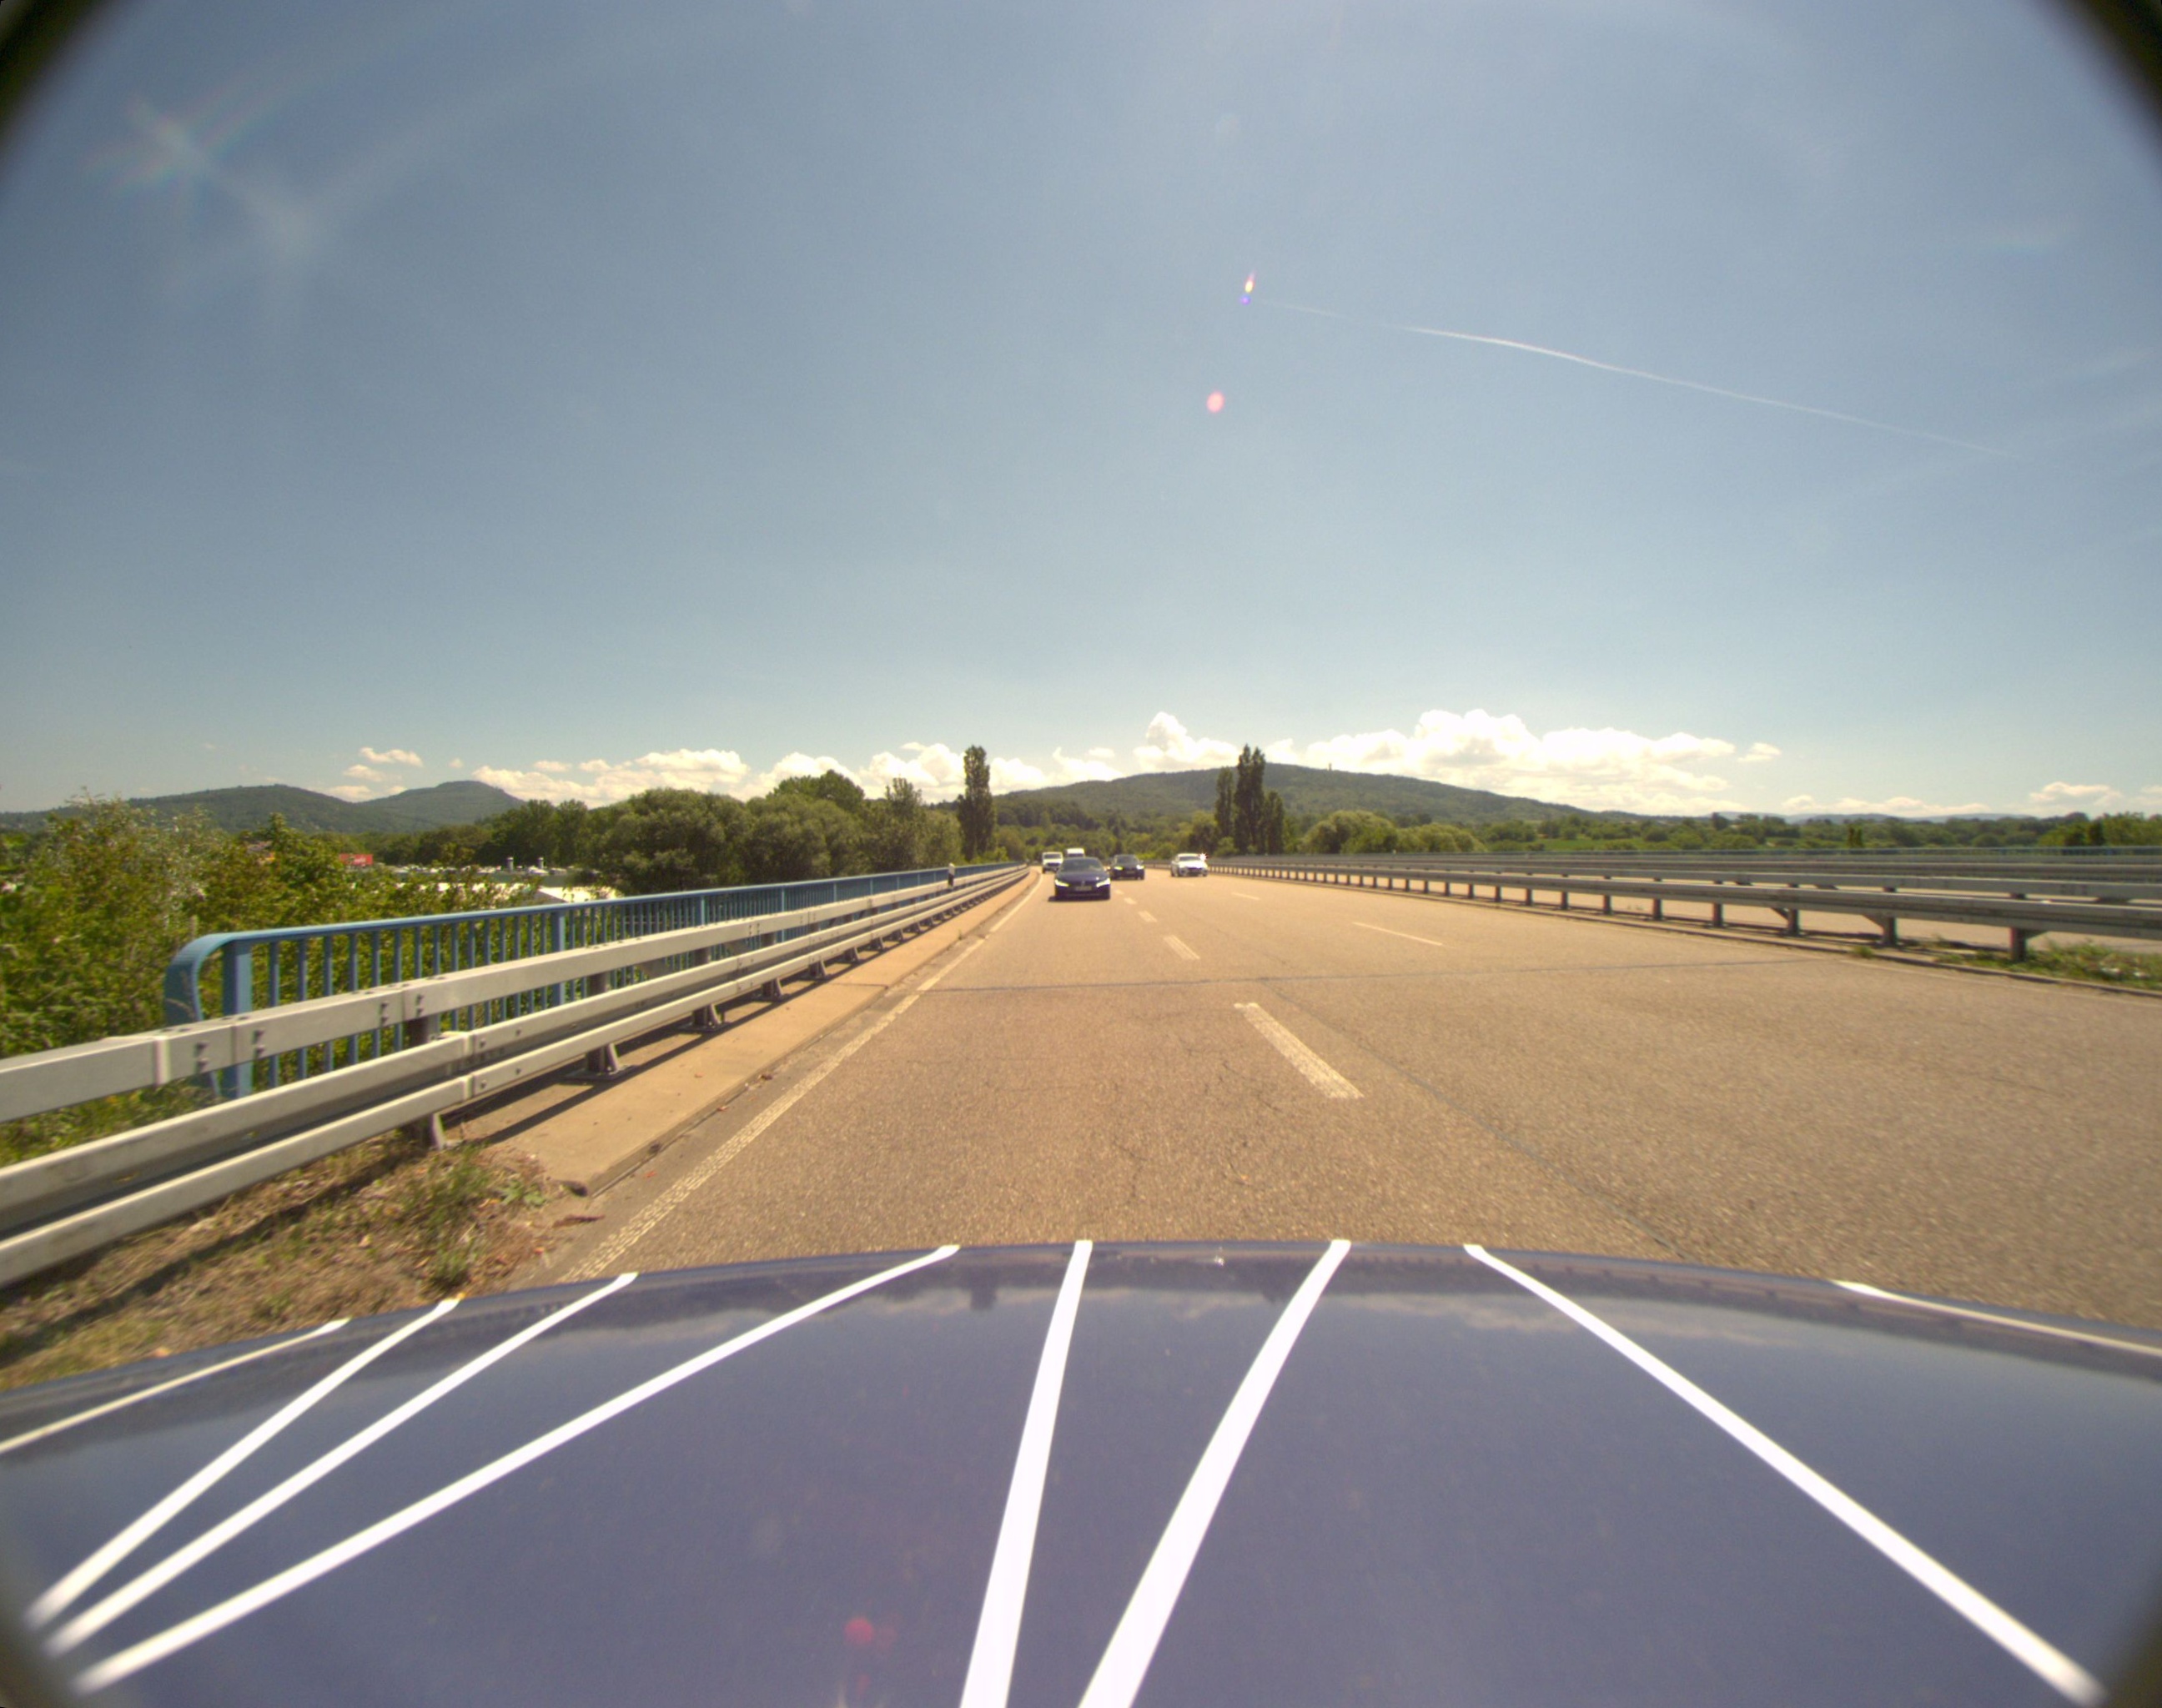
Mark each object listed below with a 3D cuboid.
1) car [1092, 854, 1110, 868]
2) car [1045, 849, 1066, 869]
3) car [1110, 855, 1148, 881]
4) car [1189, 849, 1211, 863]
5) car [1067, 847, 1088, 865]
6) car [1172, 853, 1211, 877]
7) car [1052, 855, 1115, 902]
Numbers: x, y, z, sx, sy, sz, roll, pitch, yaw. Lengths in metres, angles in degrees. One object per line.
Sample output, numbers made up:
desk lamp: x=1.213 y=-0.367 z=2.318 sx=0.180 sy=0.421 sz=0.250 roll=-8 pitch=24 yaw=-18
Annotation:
car: x=2.918 y=1.000 z=112.537 sx=2.009 sy=1.987 sz=4.576 roll=-1 pitch=0 yaw=-6
car: x=-2.389 y=0.448 z=71.313 sx=1.885 sy=1.724 sz=4.468 roll=-1 pitch=1 yaw=-2
car: x=2.807 y=0.795 z=45.258 sx=1.846 sy=1.399 sz=4.469 roll=-1 pitch=0 yaw=-1
car: x=14.725 y=0.262 z=94.190 sx=1.848 sy=1.658 sz=5.049 roll=-1 pitch=1 yaw=-2
car: x=-0.462 y=0.212 z=87.698 sx=2.009 sy=1.987 sz=4.576 roll=-1 pitch=1 yaw=-5
car: x=7.035 y=0.675 z=48.897 sx=1.846 sy=1.400 sz=4.469 roll=-1 pitch=1 yaw=0
car: x=-0.002 y=0.784 z=26.378 sx=1.846 sy=1.399 sz=4.468 roll=-1 pitch=0 yaw=-3
